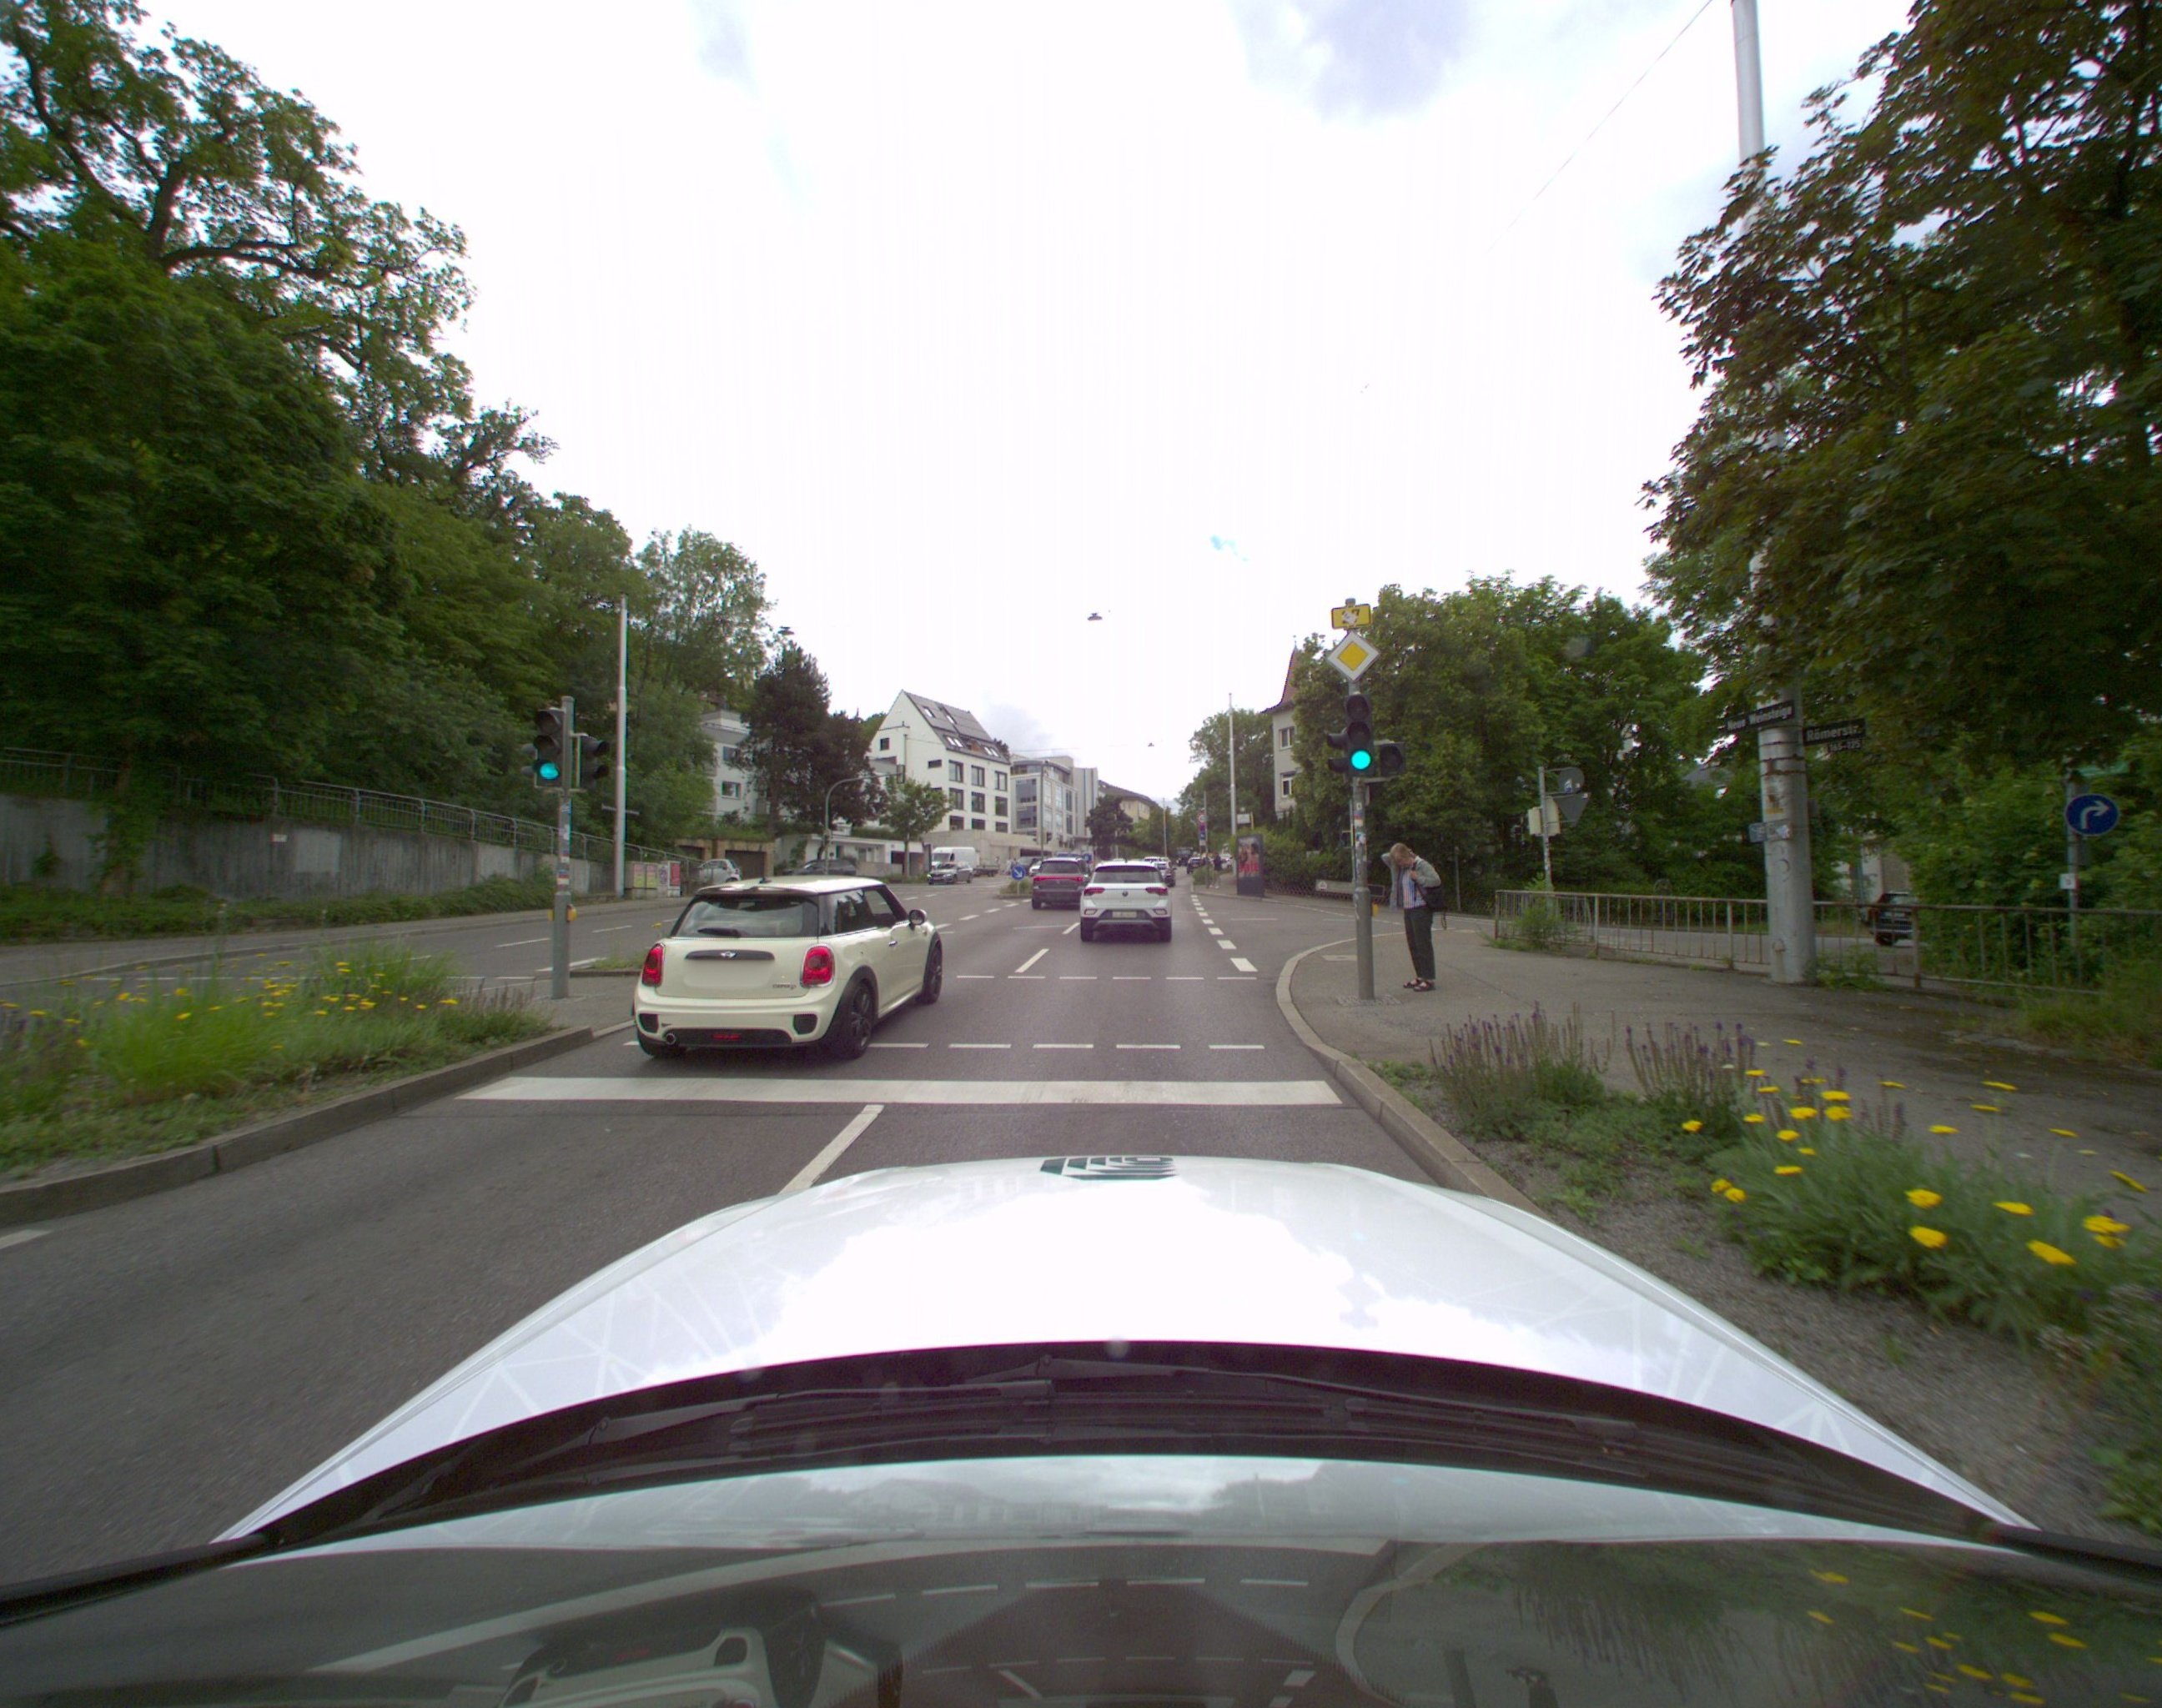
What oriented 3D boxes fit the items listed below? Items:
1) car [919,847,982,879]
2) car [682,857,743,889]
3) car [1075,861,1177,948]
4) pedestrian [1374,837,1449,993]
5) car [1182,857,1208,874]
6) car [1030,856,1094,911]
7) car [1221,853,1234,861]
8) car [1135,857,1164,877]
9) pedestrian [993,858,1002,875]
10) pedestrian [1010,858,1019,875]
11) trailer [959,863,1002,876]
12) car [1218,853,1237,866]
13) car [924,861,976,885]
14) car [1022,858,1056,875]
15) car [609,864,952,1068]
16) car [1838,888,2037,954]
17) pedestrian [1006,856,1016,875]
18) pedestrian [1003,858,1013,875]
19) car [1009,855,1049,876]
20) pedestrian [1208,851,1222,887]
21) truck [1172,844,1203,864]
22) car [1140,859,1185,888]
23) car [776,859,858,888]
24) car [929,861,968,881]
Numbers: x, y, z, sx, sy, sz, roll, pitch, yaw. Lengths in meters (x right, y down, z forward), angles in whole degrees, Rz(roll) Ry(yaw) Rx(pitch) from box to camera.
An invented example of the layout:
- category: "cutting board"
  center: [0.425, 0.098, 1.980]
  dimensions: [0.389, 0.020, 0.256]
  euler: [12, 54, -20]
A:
- category: "car"
  center: [-10.818, 0.723, 68.394]
  dimensions: [2.214, 2.568, 7.453]
  euler: [-1, 0, 16]
- category: "car"
  center: [-18.544, 0.963, 41.080]
  dimensions: [2.714, 1.520, 1.552]
  euler: [2, -2, -23]
- category: "car"
  center: [0.813, 0.940, 16.833]
  dimensions: [1.806, 1.539, 3.687]
  euler: [-2, 0, -1]
- category: "pedestrian"
  center: [3.721, 0.672, 9.190]
  dimensions: [0.687, 1.689, 0.623]
  euler: [-3, -2, 22]
- category: "car"
  center: [10.743, 1.084, 76.680]
  dimensions: [1.860, 1.501, 4.572]
  euler: [2, 0, 14]
- category: "car"
  center: [-0.541, 0.912, 27.345]
  dimensions: [1.805, 1.652, 4.639]
  euler: [-2, 0, 2]
- category: "car"
  center: [25.970, 0.514, 143.945]
  dimensions: [1.682, 1.496, 4.507]
  euler: [0, 0, 18]
- category: "car"
  center: [5.908, 1.073, 69.563]
  dimensions: [1.845, 1.652, 4.651]
  euler: [-2, 0, 12]
- category: "pedestrian"
  center: [-8.255, 1.192, 80.428]
  dimensions: [0.620, 1.640, 0.676]
  euler: [1, 0, 22]
- category: "pedestrian"
  center: [-6.757, 1.265, 82.775]
  dimensions: [0.678, 1.640, 0.665]
  euler: [1, 0, -32]
- category: "trailer"
  center: [-9.097, 1.405, 74.181]
  dimensions: [2.229, 1.112, 4.642]
  euler: [-1, 0, 16]
- category: "car"
  center: [18.552, 0.688, 103.028]
  dimensions: [1.843, 1.500, 4.075]
  euler: [-2, 0, 19]
- category: "car"
  center: [-8.412, 1.194, 52.584]
  dimensions: [1.639, 1.449, 4.584]
  euler: [0, 0, 14]
- category: "car"
  center: [-3.759, 1.104, 73.442]
  dimensions: [1.638, 1.393, 4.162]
  euler: [1, 0, 17]
- category: "car"
  center: [-2.451, 0.832, 7.624]
  dimensions: [1.620, 1.393, 3.570]
  euler: [-2, 0, 4]
- category: "car"
  center: [24.554, 1.906, 23.414]
  dimensions: [4.249, 1.619, 1.743]
  euler: [3, -1, -7]
- category: "pedestrian"
  center: [-7.033, 1.176, 81.704]
  dimensions: [0.678, 1.840, 0.665]
  euler: [1, 0, -32]
- category: "pedestrian"
  center: [-7.210, 1.265, 80.567]
  dimensions: [0.678, 1.640, 0.665]
  euler: [1, 0, -32]
- category: "car"
  center: [-5.162, 1.128, 81.778]
  dimensions: [1.965, 1.967, 5.245]
  euler: [-1, 0, 21]
- category: "pedestrian"
  center: [6.783, 0.754, 41.262]
  dimensions: [0.689, 1.834, 0.621]
  euler: [0, -1, 7]
- category: "truck"
  center: [16.759, 0.059, 127.342]
  dimensions: [2.936, 2.971, 9.022]
  euler: [0, 0, 19]
- category: "car"
  center: [4.737, 1.085, 46.883]
  dimensions: [1.860, 1.501, 4.572]
  euler: [2, 0, 14]
- category: "car"
  center: [-15.027, 1.099, 46.451]
  dimensions: [4.155, 1.540, 1.579]
  euler: [-1, -1, -41]
- category: "car"
  center: [-10.023, 1.256, 61.855]
  dimensions: [1.611, 1.465, 3.940]
  euler: [-1, 0, 12]
